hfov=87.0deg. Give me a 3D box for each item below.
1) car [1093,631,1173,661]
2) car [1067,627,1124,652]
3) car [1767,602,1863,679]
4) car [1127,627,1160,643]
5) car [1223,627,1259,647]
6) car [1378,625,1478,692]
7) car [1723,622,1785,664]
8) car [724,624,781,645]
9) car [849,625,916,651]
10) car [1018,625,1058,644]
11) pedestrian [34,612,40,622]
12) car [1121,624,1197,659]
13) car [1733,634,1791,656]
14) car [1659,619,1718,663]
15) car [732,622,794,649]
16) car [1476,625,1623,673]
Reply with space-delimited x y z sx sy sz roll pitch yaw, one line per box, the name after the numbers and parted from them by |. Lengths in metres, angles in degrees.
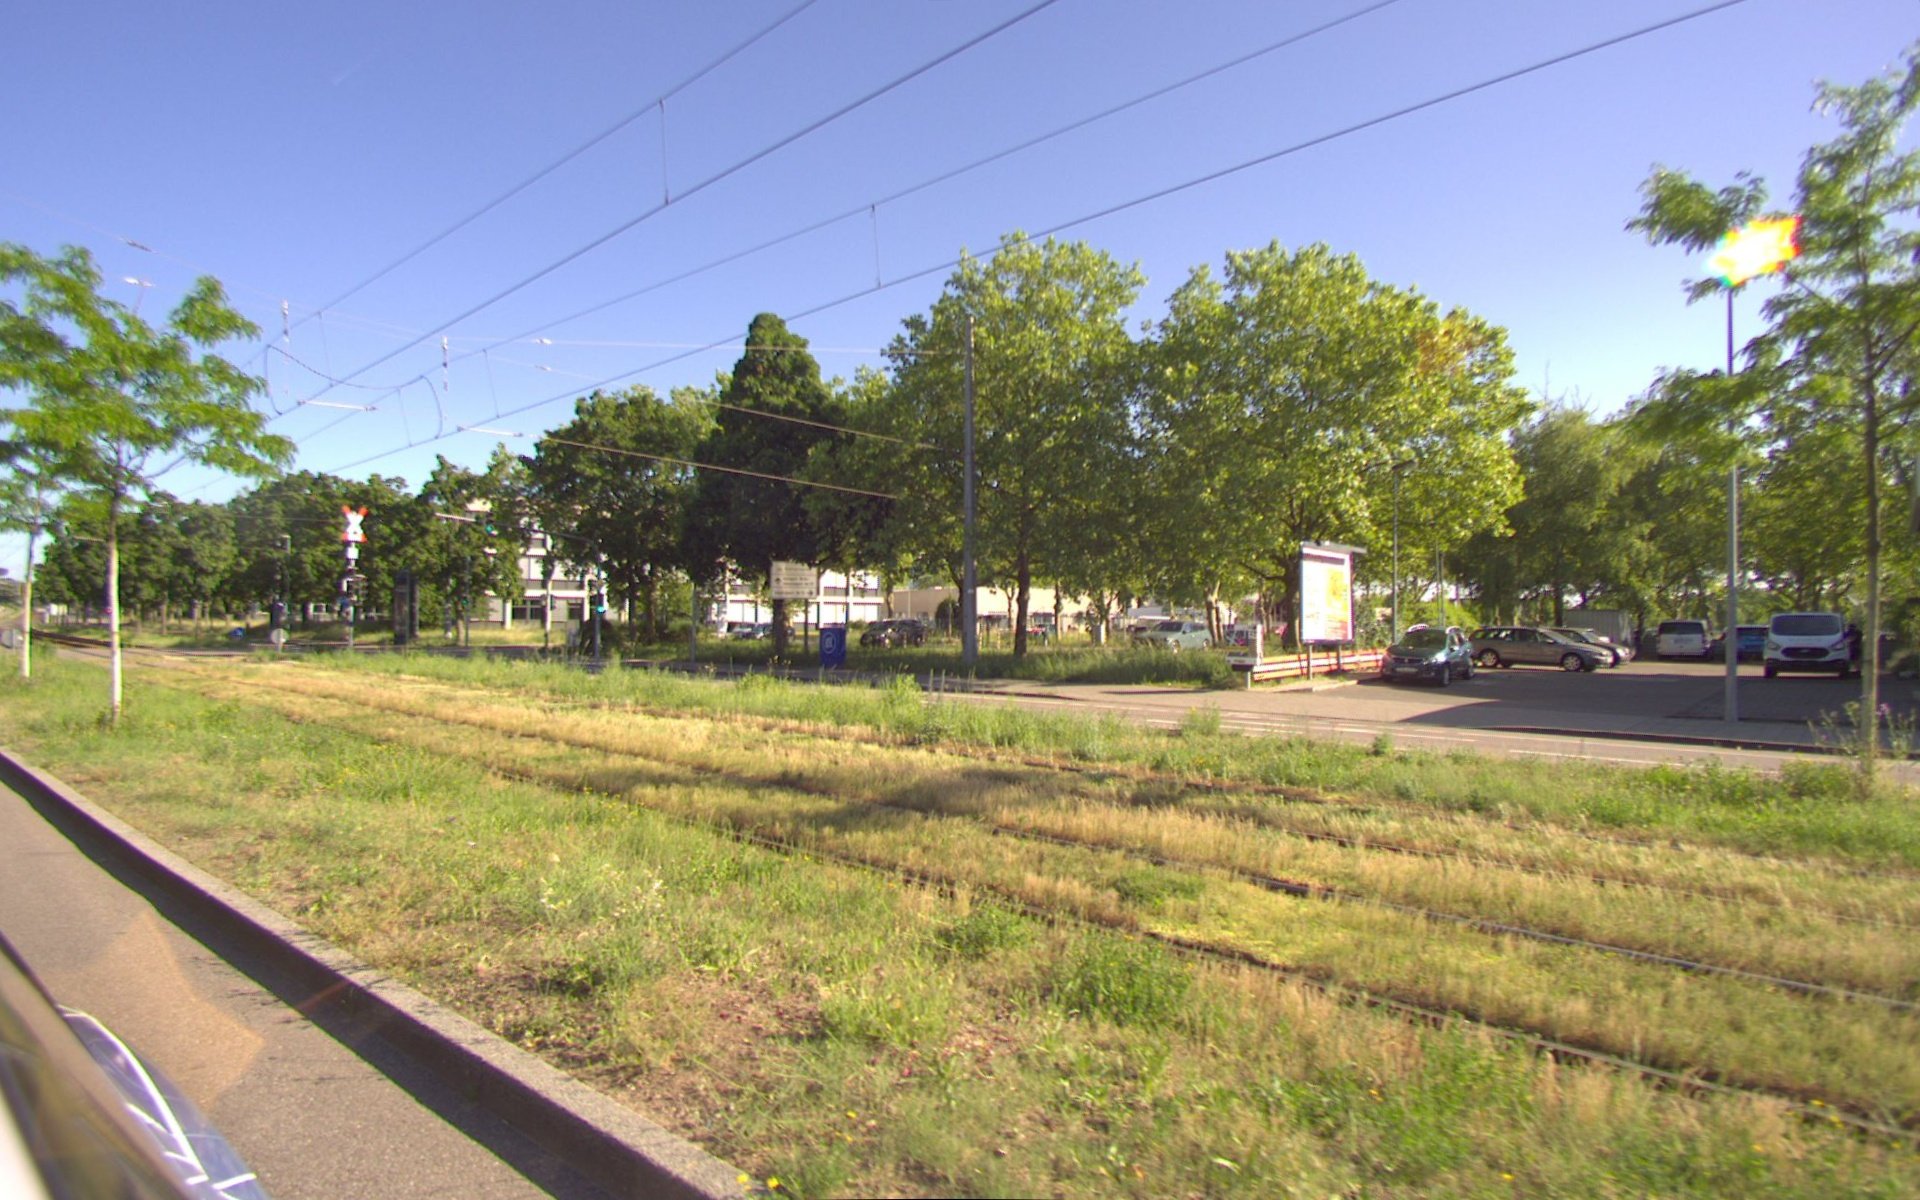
7.376 1.911 42.873 1.664 1.176 3.926 -1 -2 38 | car
8.102 2.311 60.327 1.663 1.443 3.927 -1 -2 38 | car
25.584 1.215 30.267 2.020 2.107 4.671 -2 -3 41 | car
18.491 3.515 102.065 1.826 1.618 3.953 -1 -2 35 | car
24.408 3.170 87.907 1.826 1.681 3.953 -1 -2 35 | car
13.442 1.604 28.977 1.728 1.537 3.928 2 3 38 | car
33.109 1.751 42.144 1.905 1.643 4.034 -1 -2 40 | car
-16.563 2.734 80.881 1.983 1.652 4.383 -1 -2 31 | car
-4.278 2.137 56.629 1.865 1.392 3.960 -1 -3 29 | car
6.965 3.046 90.023 1.826 1.681 3.953 -1 -2 35 | car
-160.366 2.975 175.802 0.774 1.765 0.782 1 -2 -44 | pedestrian
8.697 1.819 44.067 1.663 1.443 3.927 -1 -3 38 | car
60.353 3.377 76.146 4.355 1.561 1.996 2 -2 -31 | car
32.968 1.822 45.759 1.905 1.874 4.034 -1 -2 40 | car
-12.792 2.306 65.836 1.824 1.681 3.957 -1 -2 31 | car
20.161 1.637 34.741 1.559 1.556 4.092 1 -2 -44 | car
